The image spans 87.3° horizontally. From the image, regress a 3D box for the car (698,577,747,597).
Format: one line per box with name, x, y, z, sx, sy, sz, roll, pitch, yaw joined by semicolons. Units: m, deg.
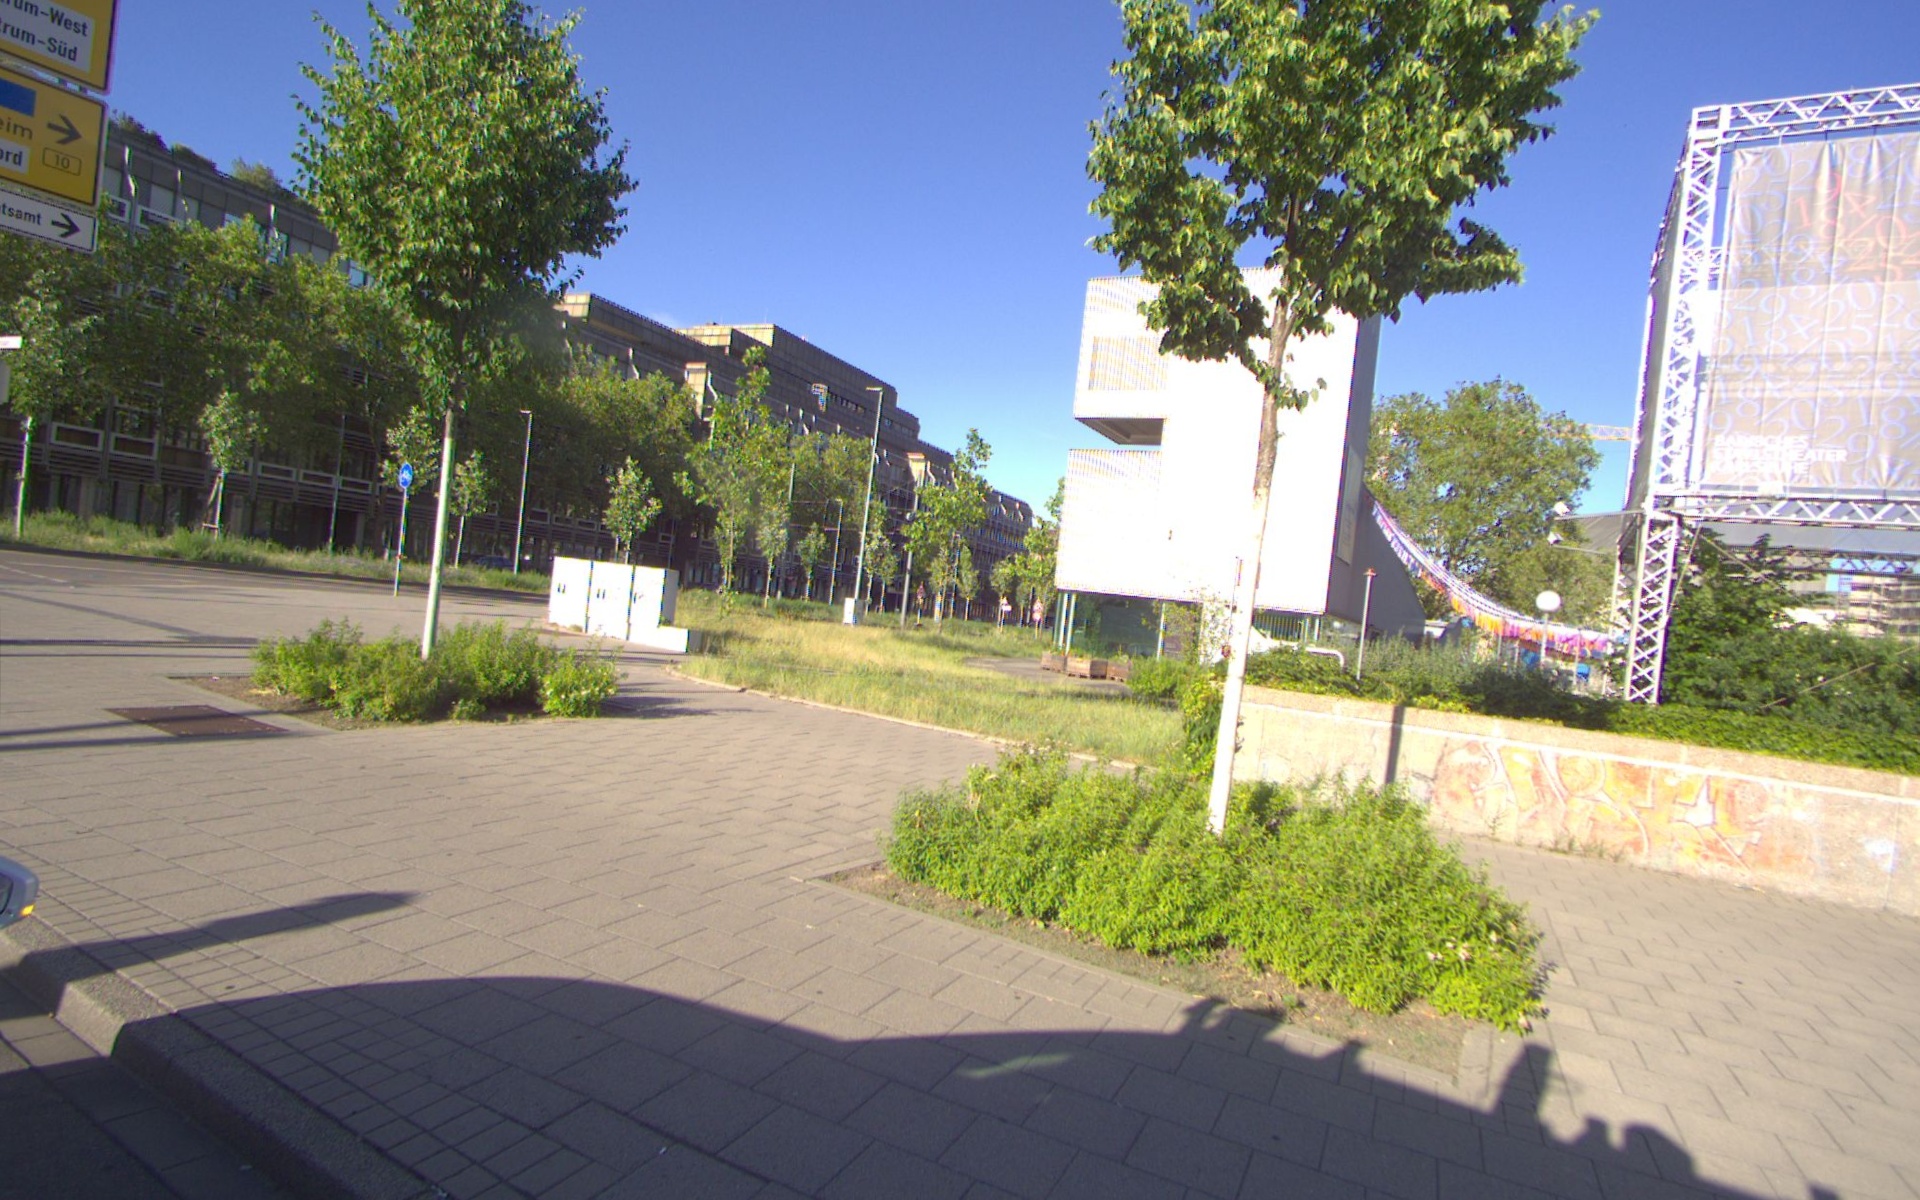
car;-18.595;-1.013;79.042;1.605;1.359;3.994;6;1;23
